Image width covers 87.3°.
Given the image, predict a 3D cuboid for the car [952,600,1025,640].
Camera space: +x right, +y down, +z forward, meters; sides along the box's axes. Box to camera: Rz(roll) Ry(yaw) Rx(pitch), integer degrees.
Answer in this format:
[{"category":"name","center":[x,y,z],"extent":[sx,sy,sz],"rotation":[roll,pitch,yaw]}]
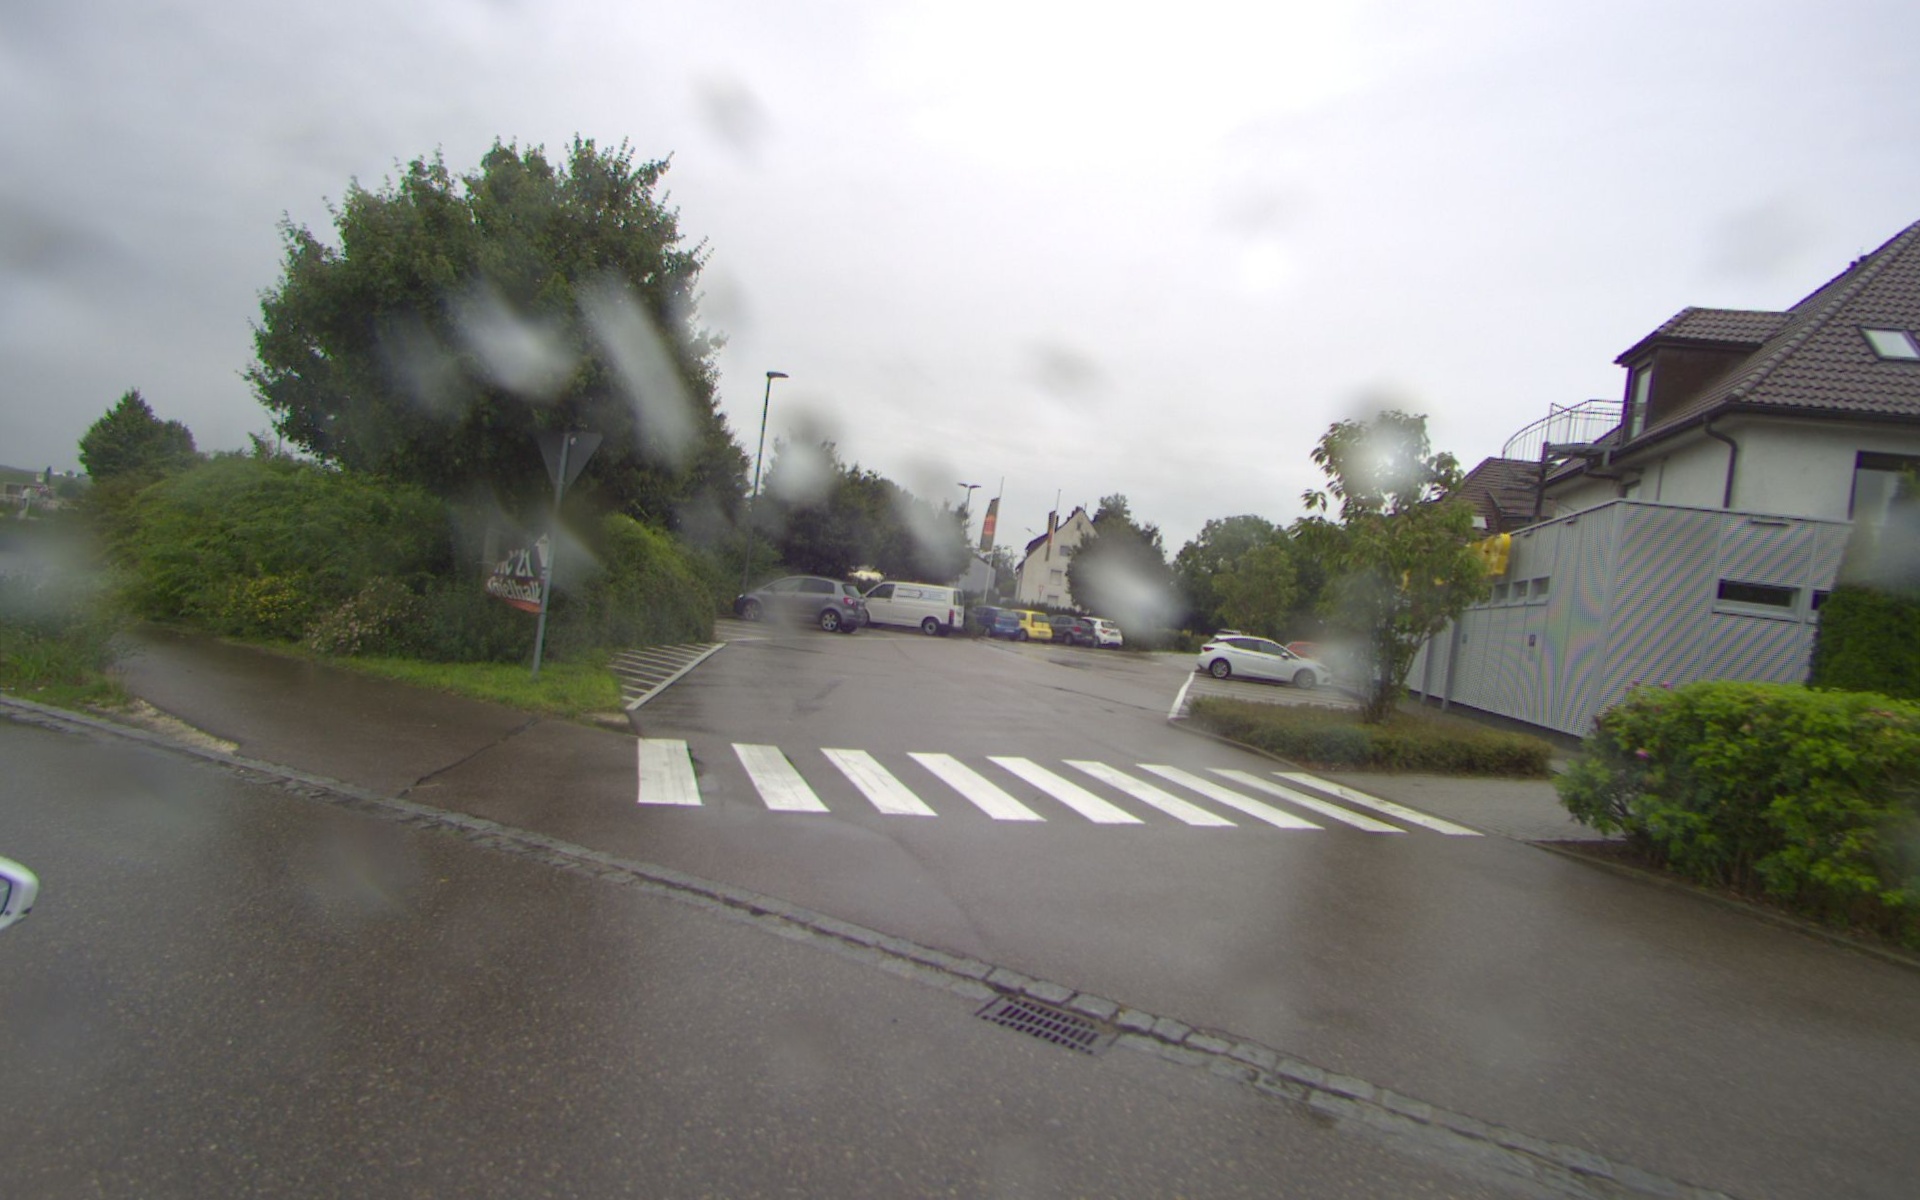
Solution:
[{"category":"car","center":[1.282,0.934,47.050],"extent":[1.540,1.476,3.649],"rotation":[6,0,-32]}]

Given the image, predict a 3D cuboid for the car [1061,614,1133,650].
[{"category":"car","center":[7.041,1.636,52.049],"extent":[1.569,1.476,3.649],"rotation":[6,0,-32]}]

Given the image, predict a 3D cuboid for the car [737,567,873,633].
[{"category":"car","center":[-4.691,0.008,30.557],"extent":[3.673,1.570,1.451],"rotation":[7,1,13]}]

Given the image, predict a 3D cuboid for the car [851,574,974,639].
[{"category":"car","center":[-1.887,0.260,40.145],"extent":[4.448,2.059,1.645],"rotation":[7,1,13]}]

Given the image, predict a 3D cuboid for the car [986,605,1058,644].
[{"category":"car","center":[2.967,1.179,49.107],"extent":[1.569,1.476,3.649],"rotation":[6,0,-32]}]

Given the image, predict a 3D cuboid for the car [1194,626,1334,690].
[{"category":"car","center":[9.799,1.850,32.703],"extent":[4.109,1.516,1.718],"rotation":[6,0,13]}]

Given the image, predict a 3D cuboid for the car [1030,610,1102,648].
[{"category":"car","center":[5.237,1.407,50.107],"extent":[1.569,1.476,3.649],"rotation":[6,0,-32]}]
